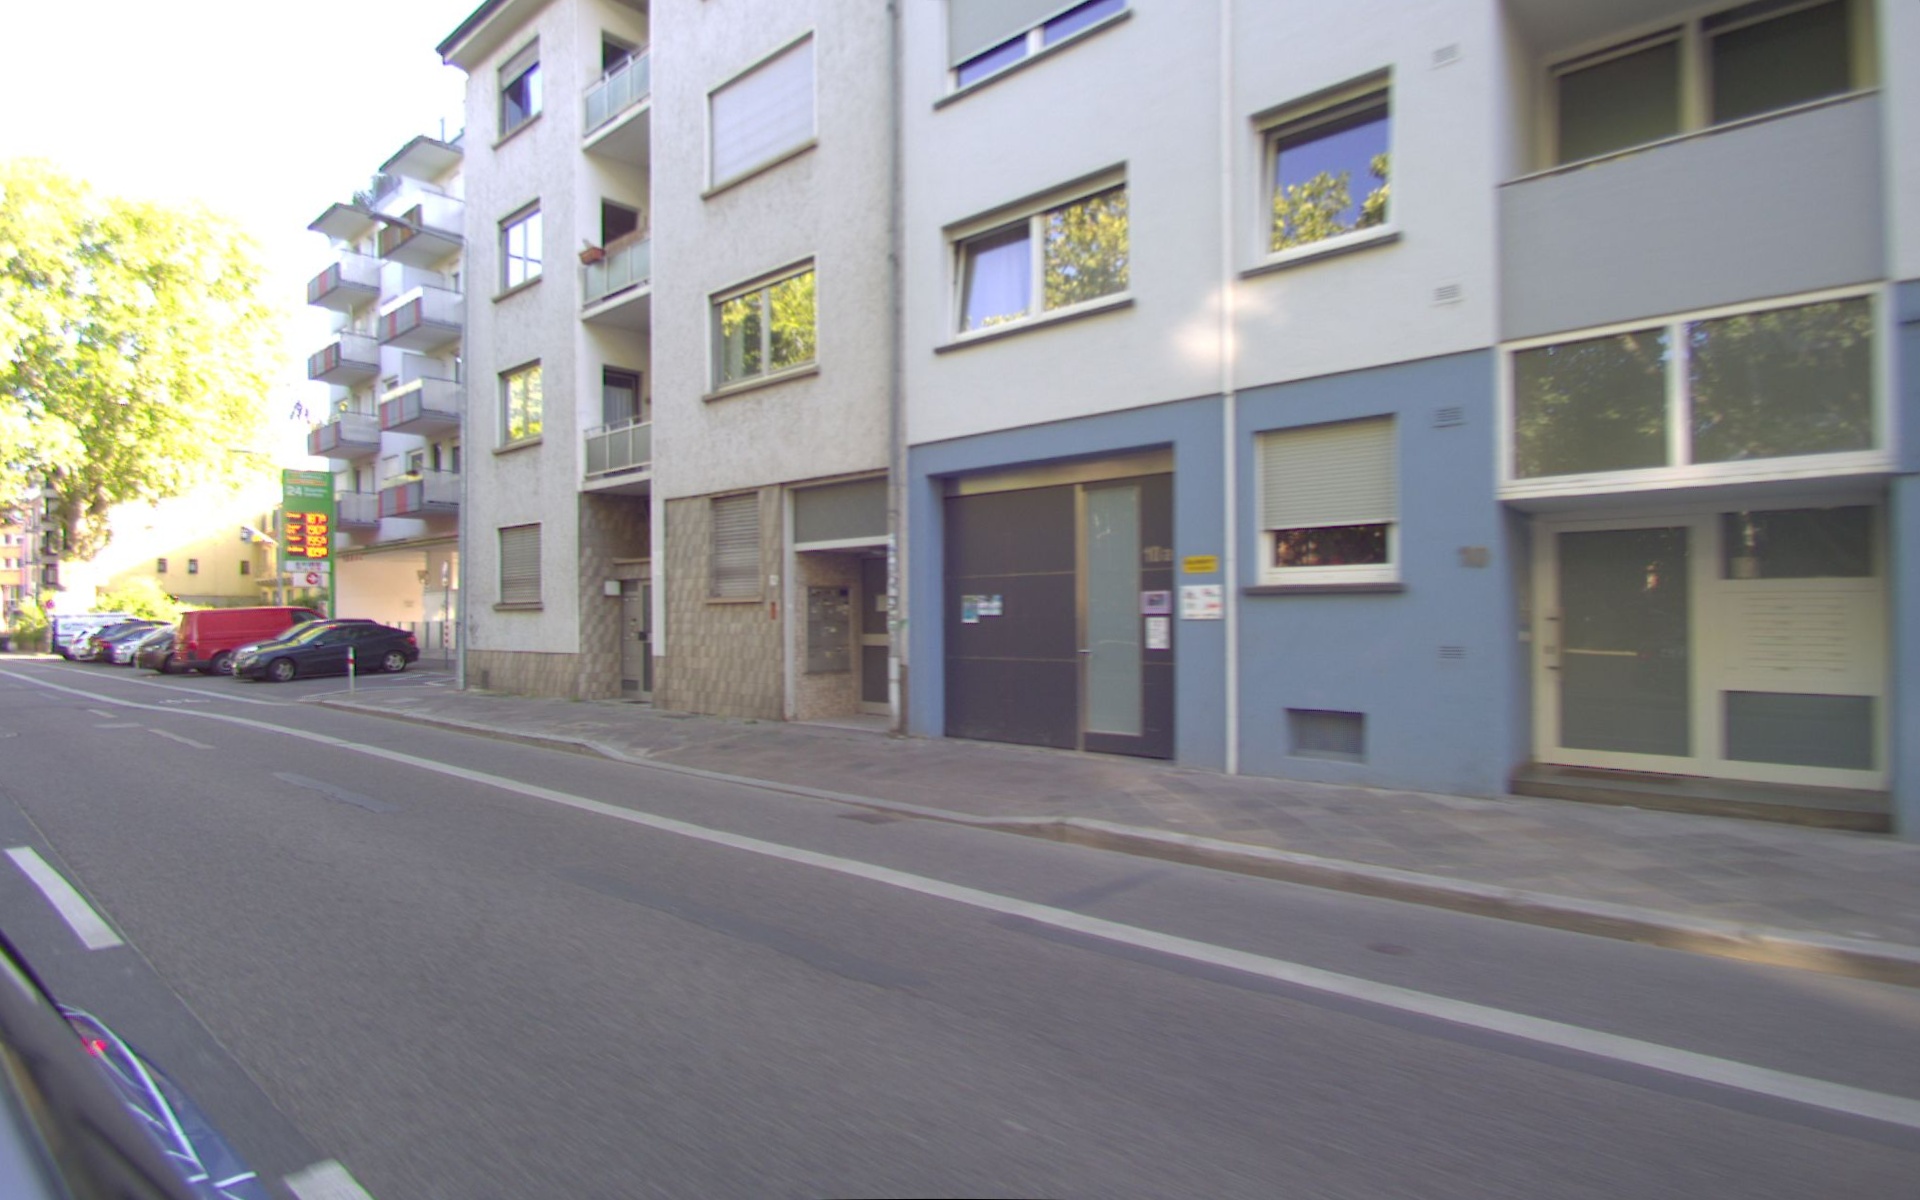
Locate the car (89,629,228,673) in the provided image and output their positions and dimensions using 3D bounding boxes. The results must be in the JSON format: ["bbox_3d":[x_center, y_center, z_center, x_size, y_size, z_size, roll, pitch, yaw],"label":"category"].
[{"bbox_3d":[-31.001,1.929,39.217,1.915,1.467,3.945,-2,0,41],"label":"car"}]

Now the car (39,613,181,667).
[{"bbox_3d":[-39.688,1.805,47.337,2.139,2.233,4.794,-2,0,41],"label":"car"}]

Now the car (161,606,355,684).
[{"bbox_3d":[-21.064,1.287,30.498,2.145,1.966,4.375,-2,1,41],"label":"car"}]

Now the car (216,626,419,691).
[{"bbox_3d":[-17.103,1.491,27.069,2.045,1.390,4.184,-1,1,41],"label":"car"}]

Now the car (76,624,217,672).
[{"bbox_3d":[-32.923,1.890,41.019,2.027,1.696,4.150,-2,0,41],"label":"car"}]

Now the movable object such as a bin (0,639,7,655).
[{"bbox_3d":[-62.977,3.073,66.371,0.644,1.079,0.588,-2,-2,42],"label":"movable object such as a bin"}]

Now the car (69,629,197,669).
[{"bbox_3d":[-34.906,2.047,42.788,1.852,1.444,3.945,-2,-1,41],"label":"car"}]

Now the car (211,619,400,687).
[{"bbox_3d":[-18.522,1.432,28.774,1.886,1.575,4.130,-2,1,41],"label":"car"}]

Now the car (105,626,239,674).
[{"bbox_3d":[-29.291,1.820,37.673,1.830,1.524,3.647,-2,1,41],"label":"car"}]

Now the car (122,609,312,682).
[{"bbox_3d":[-23.405,1.371,31.996,2.056,1.966,4.475,-2,1,41],"label":"car"}]

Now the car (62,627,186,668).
[{"bbox_3d":[-36.476,2.042,44.225,1.852,1.571,3.945,-2,-1,41],"label":"car"}]
